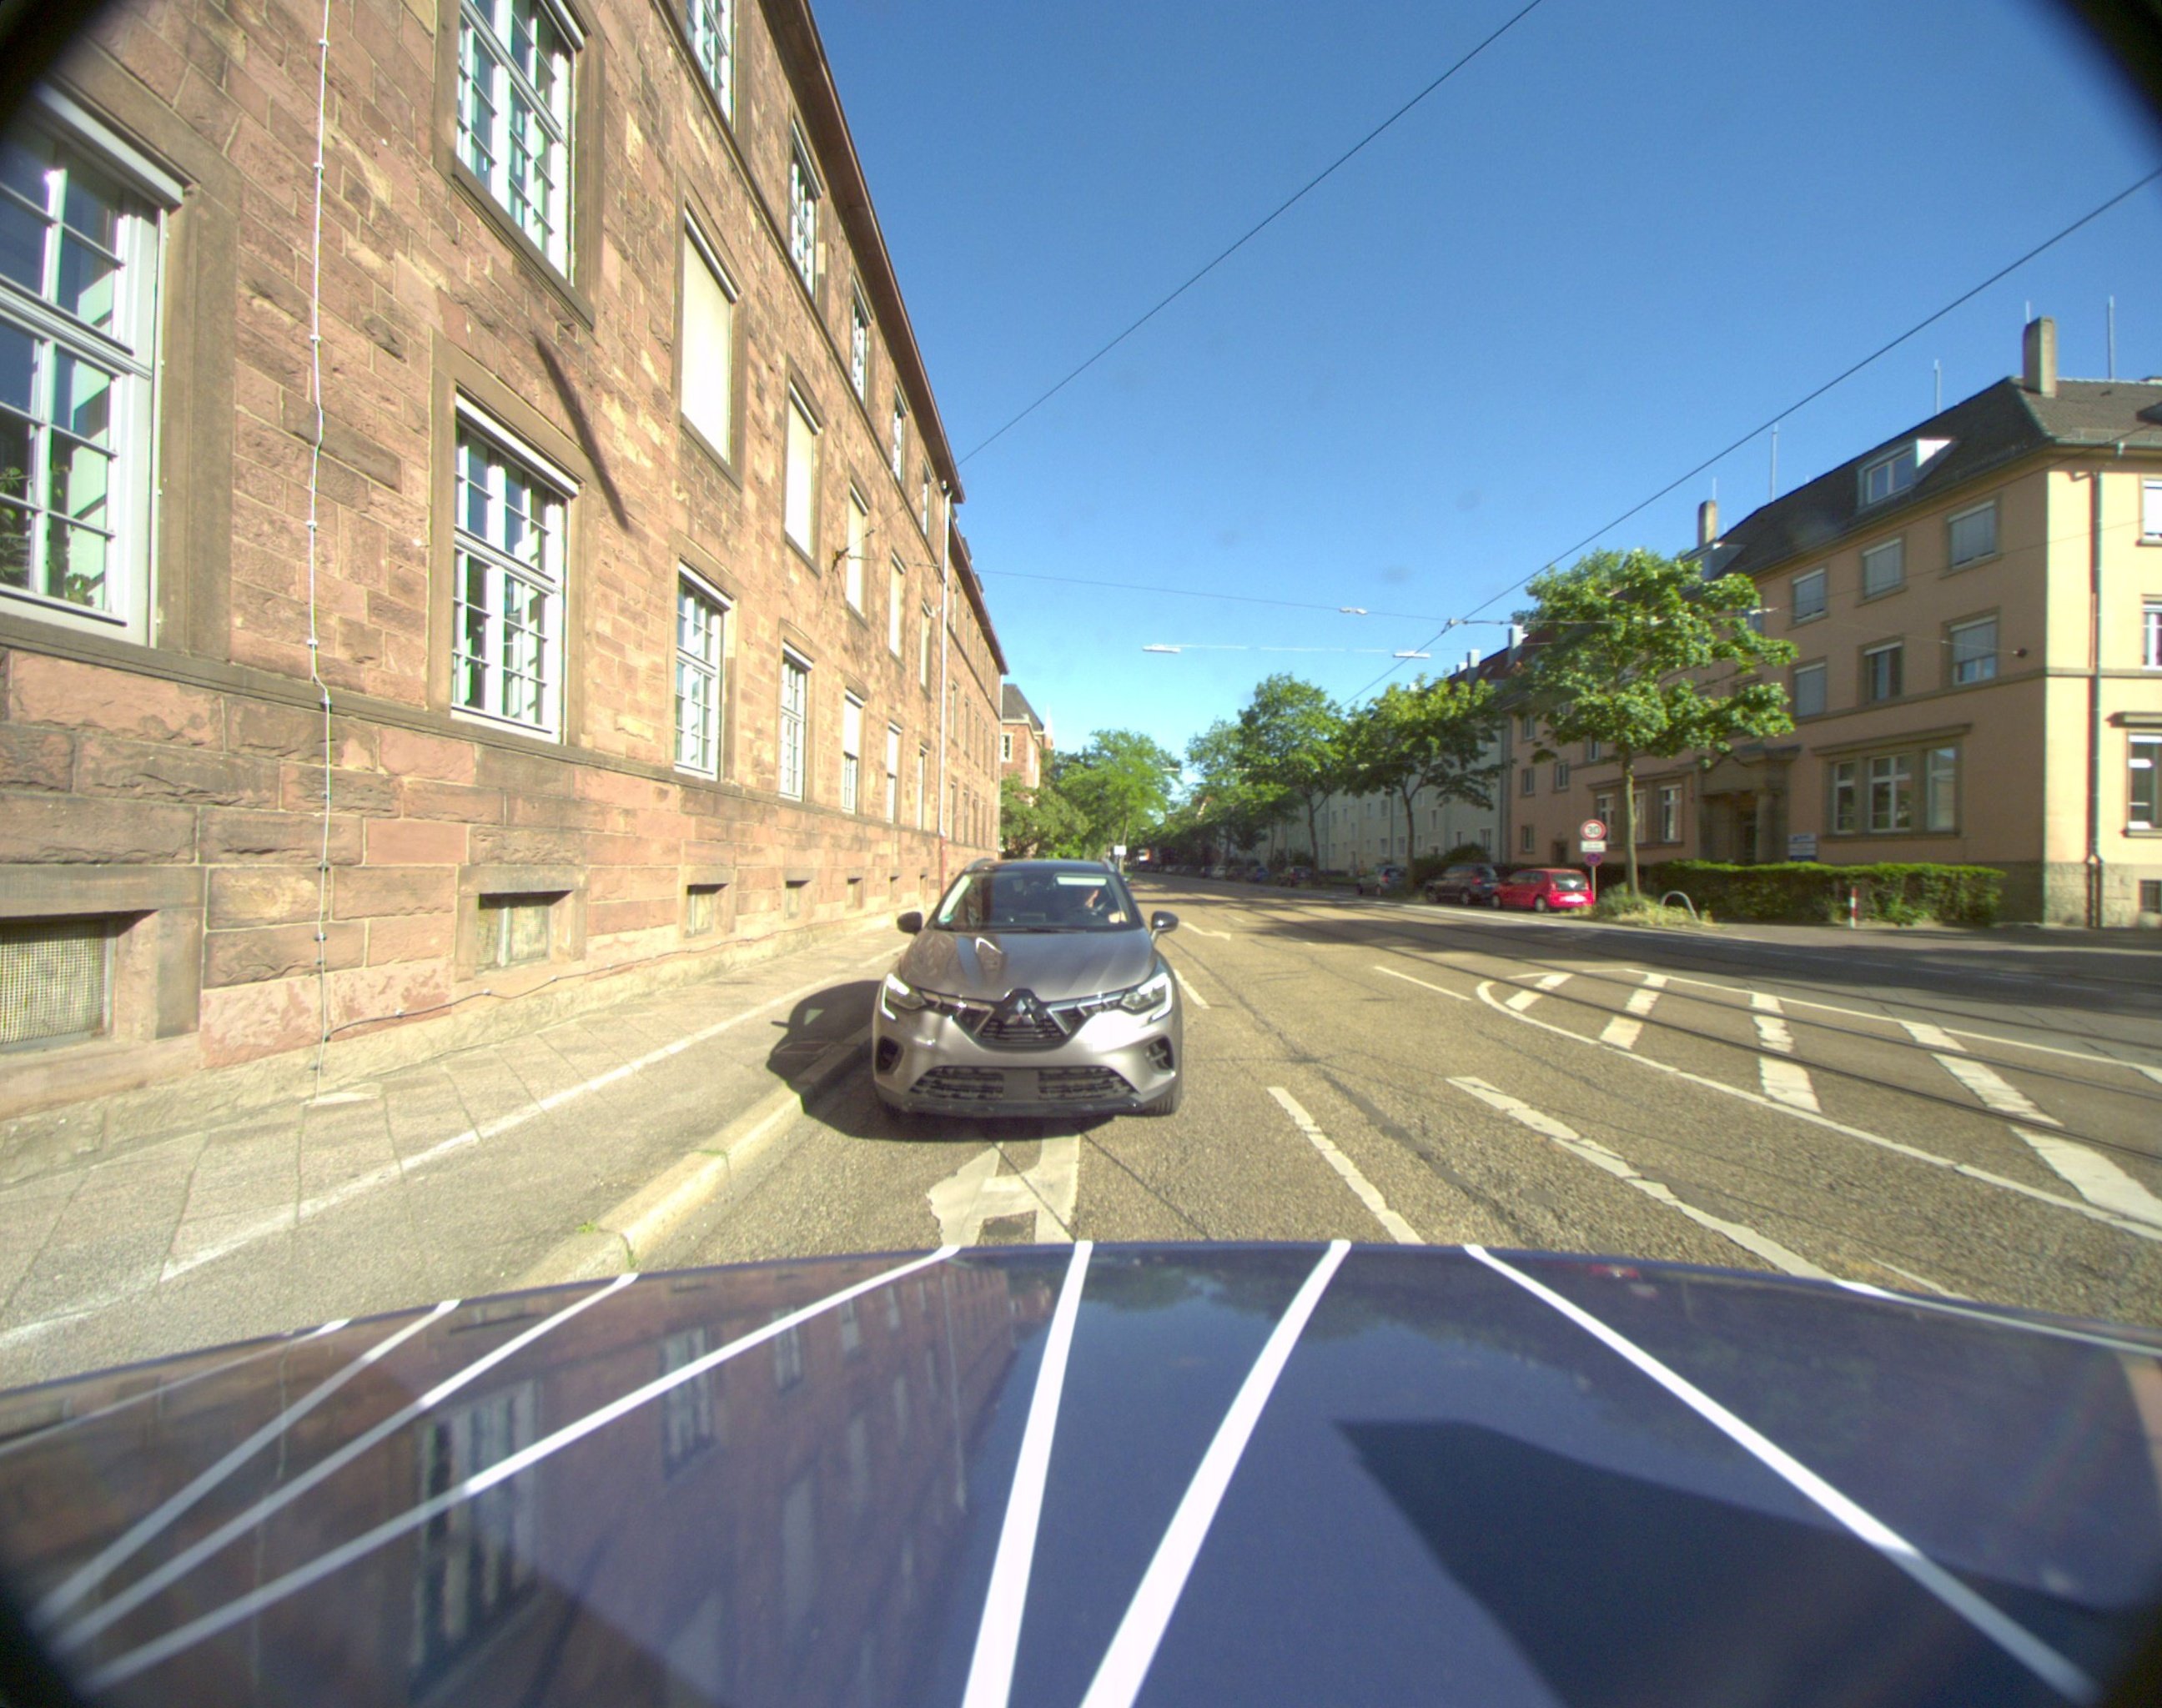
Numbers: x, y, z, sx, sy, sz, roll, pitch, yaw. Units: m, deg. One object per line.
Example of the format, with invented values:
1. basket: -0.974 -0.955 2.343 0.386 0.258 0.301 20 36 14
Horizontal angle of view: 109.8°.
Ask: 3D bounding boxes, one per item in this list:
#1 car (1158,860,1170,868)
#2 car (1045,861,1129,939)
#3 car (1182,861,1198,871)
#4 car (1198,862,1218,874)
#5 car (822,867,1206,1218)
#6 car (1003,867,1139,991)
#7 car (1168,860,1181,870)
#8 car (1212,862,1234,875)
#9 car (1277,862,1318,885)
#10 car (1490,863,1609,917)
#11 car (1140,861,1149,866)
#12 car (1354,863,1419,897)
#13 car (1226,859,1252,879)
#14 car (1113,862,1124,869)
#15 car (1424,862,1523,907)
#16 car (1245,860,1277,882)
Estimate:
1. car: 15.978 1.849 146.864 1.816 1.514 3.630 1 0 -2
2. car: 0.074 1.014 18.479 1.796 1.638 4.083 -1 0 -2
3. car: 16.039 1.742 111.782 1.816 1.411 3.630 1 0 -2
4. car: 15.846 1.754 94.846 1.816 1.411 3.630 1 0 -2
5. car: -0.361 0.914 5.486 1.796 1.595 3.799 -1 0 -2
6. car: -0.179 1.032 12.032 1.796 1.595 3.799 -1 0 -2
7. car: 16.589 1.940 135.227 1.816 1.768 3.630 1 0 -2
8. car: 16.031 1.666 85.919 1.816 1.411 3.630 1 0 -2
9. car: 15.792 1.426 55.590 1.816 1.589 3.630 1 0 -2
10. car: 15.855 1.164 25.927 1.816 1.696 3.374 1 0 -3
11. car: 16.072 2.361 191.190 1.816 1.411 3.630 1 0 -2
12. car: 15.733 1.298 39.345 1.816 1.648 3.877 1 0 1
13. car: 15.902 1.527 76.560 1.816 1.929 3.630 1 0 -2
14. car: 7.532 2.323 153.682 1.912 1.510 4.000 1 0 -1
15. car: 15.645 1.168 30.536 1.816 1.648 3.819 1 0 -3
16. car: 15.973 1.470 67.483 1.816 1.814 3.795 1 0 -2
